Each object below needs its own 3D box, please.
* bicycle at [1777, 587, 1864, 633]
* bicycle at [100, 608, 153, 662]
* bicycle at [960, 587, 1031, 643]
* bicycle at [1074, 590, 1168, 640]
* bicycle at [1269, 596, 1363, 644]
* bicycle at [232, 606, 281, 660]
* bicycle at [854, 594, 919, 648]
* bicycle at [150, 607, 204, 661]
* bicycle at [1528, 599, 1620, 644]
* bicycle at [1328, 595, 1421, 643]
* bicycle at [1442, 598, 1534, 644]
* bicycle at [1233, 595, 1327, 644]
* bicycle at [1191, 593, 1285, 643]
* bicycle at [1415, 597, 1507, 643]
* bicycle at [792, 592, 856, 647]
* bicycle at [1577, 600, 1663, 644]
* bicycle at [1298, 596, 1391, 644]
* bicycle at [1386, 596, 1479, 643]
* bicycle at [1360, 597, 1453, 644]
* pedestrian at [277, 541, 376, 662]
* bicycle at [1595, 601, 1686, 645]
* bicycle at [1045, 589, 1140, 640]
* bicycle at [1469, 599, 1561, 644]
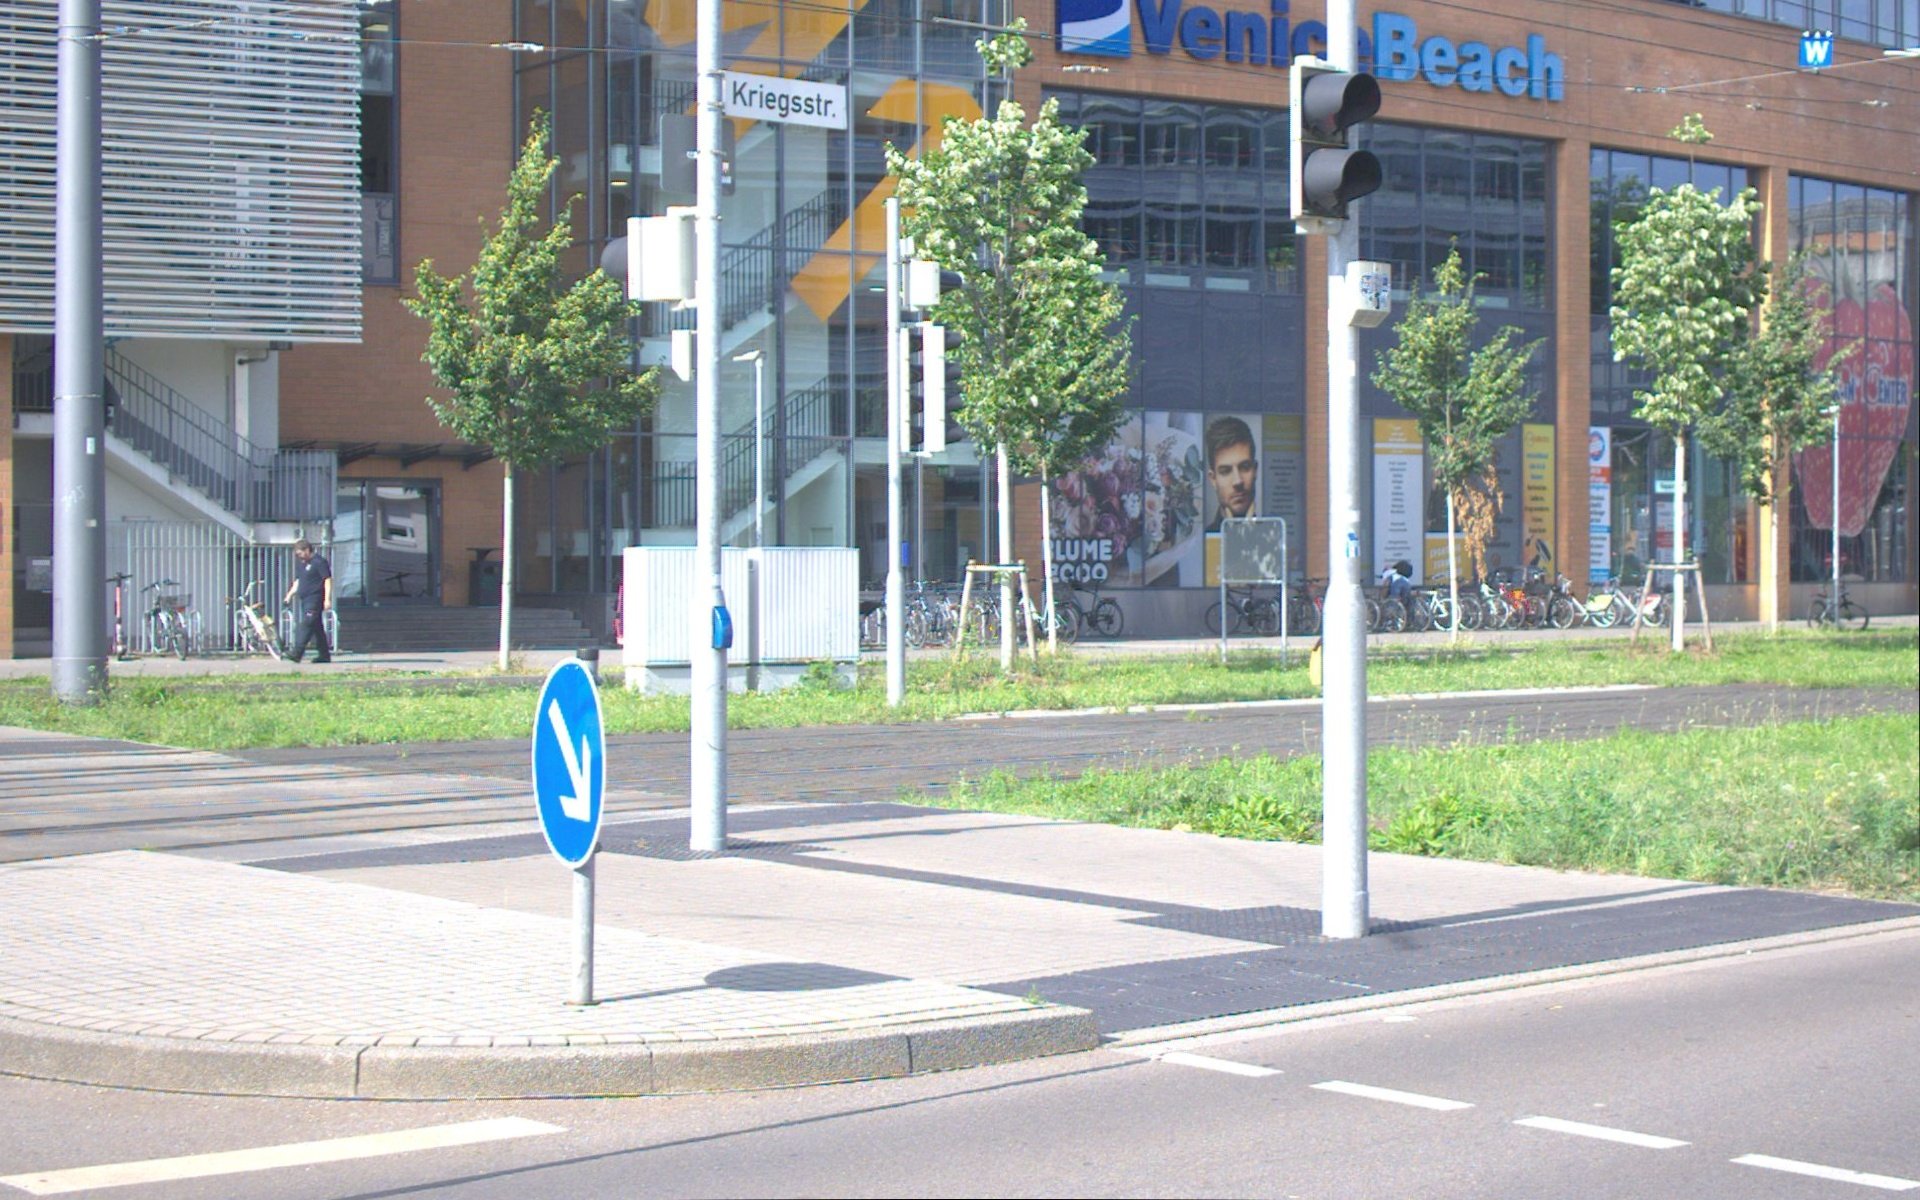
[{"bbox_3d":[17.591,0.201,70.289,0.707,0.904,1.681,1,0,-33],"label":"bicycle"},{"bbox_3d":[-11.833,0.495,48.798,0.450,0.749,1.006,0,1,-32],"label":"bicycle"},{"bbox_3d":[0.599,0.251,58.533,0.410,0.937,1.584,0,1,-32],"label":"bicycle"},{"bbox_3d":[3.027,0.278,64.812,0.572,0.918,2.054,0,1,-38],"label":"bicycle"},{"bbox_3d":[7.023,0.392,67.957,0.572,0.918,2.054,0,1,-38],"label":"bicycle"},{"bbox_3d":[-10.196,0.475,49.805,0.360,0.749,1.024,0,1,-32],"label":"bicycle"},{"bbox_3d":[-1.237,0.350,57.522,0.256,0.827,1.468,2,2,-37],"label":"bicycle"},{"bbox_3d":[-11.203,0.481,49.176,0.450,0.749,1.006,0,1,-32],"label":"bicycle"},{"bbox_3d":[13.023,0.449,72.926,0.572,0.918,2.054,0,1,-38],"label":"bicycle"},{"bbox_3d":[8.315,0.372,69.076,0.572,0.918,2.054,0,1,-38],"label":"bicycle"},{"bbox_3d":[10.956,0.437,71.405,0.572,0.918,2.054,0,1,-38],"label":"bicycle"},{"bbox_3d":[6.266,0.369,67.357,0.572,0.918,2.054,0,1,-38],"label":"bicycle"},{"bbox_3d":[5.378,0.344,66.562,0.572,0.918,2.054,0,1,-38],"label":"bicycle"},{"bbox_3d":[10.309,0.406,70.795,0.572,0.918,2.054,0,1,-38],"label":"bicycle"},{"bbox_3d":[-2.251,0.314,56.649,0.256,0.883,1.468,2,-1,-37],"label":"bicycle"},{"bbox_3d":[14.208,0.475,74.062,0.379,0.918,2.054,0,1,-38],"label":"bicycle"},{"bbox_3d":[7.664,0.384,68.547,0.572,0.918,2.054,0,1,-38],"label":"bicycle"},{"bbox_3d":[9.650,0.386,70.247,0.572,0.918,2.054,0,1,-38],"label":"bicycle"},{"bbox_3d":[9.029,0.408,69.649,0.572,0.918,2.054,0,1,-38],"label":"bicycle"},{"bbox_3d":[-9.092,0.010,49.333,1.173,1.713,0.820,0,1,-33],"label":"pedestrian"},{"bbox_3d":[14.756,0.491,74.552,0.572,0.918,2.054,0,1,-38],"label":"bicycle"},{"bbox_3d":[2.469,0.262,64.333,0.572,0.918,2.054,0,1,-38],"label":"bicycle"},{"bbox_3d":[11.624,0.443,72.008,0.572,0.918,2.054,0,1,-38],"label":"bicycle"}]
